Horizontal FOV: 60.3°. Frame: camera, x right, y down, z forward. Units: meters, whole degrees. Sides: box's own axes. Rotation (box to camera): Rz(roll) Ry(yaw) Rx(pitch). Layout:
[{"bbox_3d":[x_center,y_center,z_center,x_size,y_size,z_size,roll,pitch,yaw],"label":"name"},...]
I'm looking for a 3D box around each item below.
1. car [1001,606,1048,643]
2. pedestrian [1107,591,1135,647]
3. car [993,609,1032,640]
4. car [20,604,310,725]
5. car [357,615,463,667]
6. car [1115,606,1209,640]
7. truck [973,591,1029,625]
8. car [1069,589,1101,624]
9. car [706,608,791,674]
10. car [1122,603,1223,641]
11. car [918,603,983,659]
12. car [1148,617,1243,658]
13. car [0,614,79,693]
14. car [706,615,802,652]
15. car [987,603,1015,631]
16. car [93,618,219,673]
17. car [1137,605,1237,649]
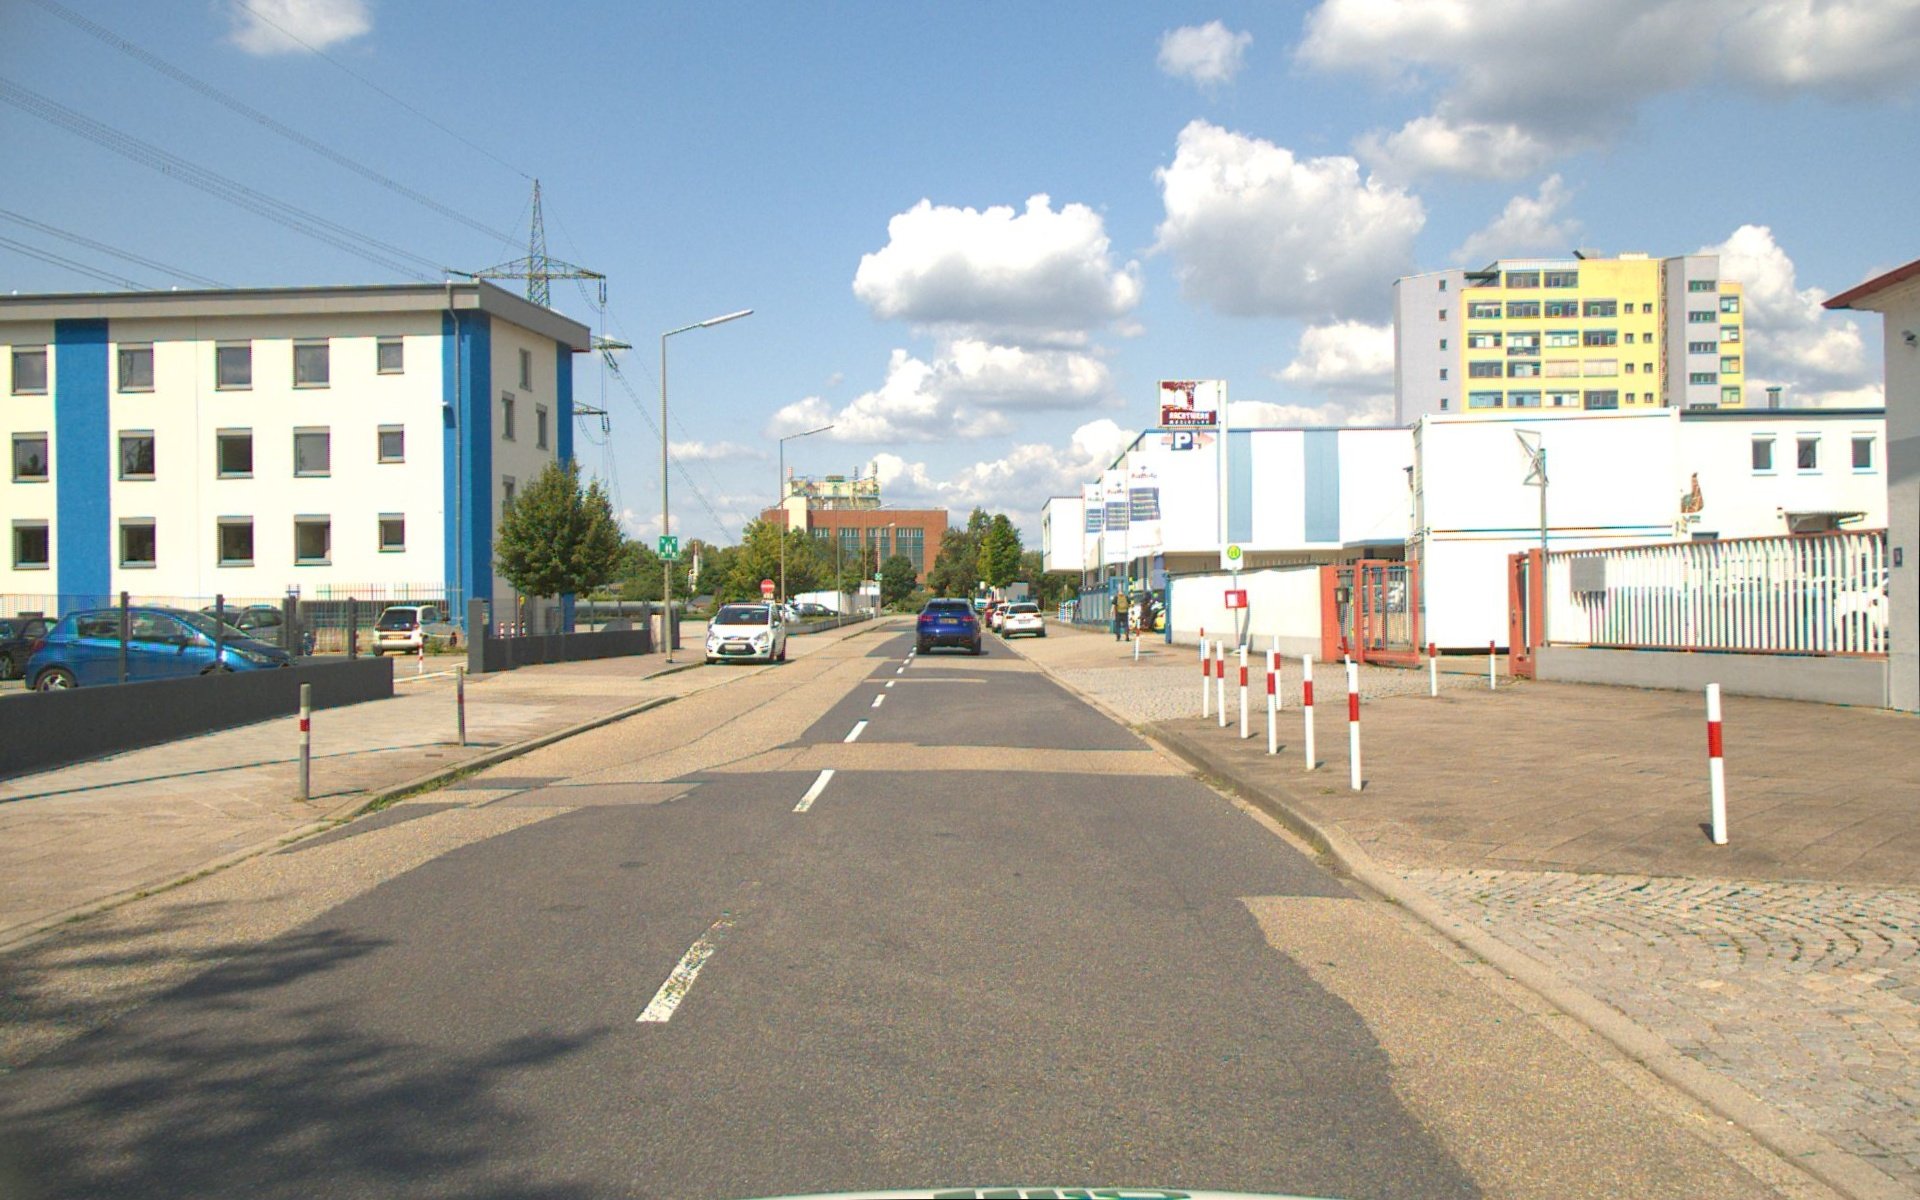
[{"bbox_3d":[2.802,1.063,72.528,1.829,1.547,4.597,0,0,-1],"label":"car"},{"bbox_3d":[5.275,0.634,54.341,0.754,1.787,0.787,-3,0,-1],"label":"pedestrian"},{"bbox_3d":[2.700,1.225,85.325,1.798,1.547,4.460,0,0,-1],"label":"car"},{"bbox_3d":[-12.304,0.970,25.771,3.573,1.738,1.878,-1,0,-1],"label":"car"},{"bbox_3d":[-17.549,1.288,52.937,1.833,1.533,3.761,-1,0,6],"label":"car"},{"bbox_3d":[9.598,1.091,78.821,4.192,1.445,2.000,-1,0,0],"label":"car"},{"bbox_3d":[4.756,0.889,190.440,2.278,3.629,9.350,1,1,30],"label":"truck"},{"bbox_3d":[9.208,0.457,122.069,1.884,2.507,5.259,0,0,0],"label":"car"},{"bbox_3d":[-5.820,1.091,45.968,1.829,1.738,4.752,0,0,-1],"label":"car"},{"bbox_3d":[8.828,0.910,68.893,3.905,1.445,2.000,-1,0,0],"label":"car"},{"bbox_3d":[-0.312,0.922,50.630,1.871,1.621,4.700,0,0,-1],"label":"car"},{"bbox_3d":[8.964,1.418,63.146,3.334,1.516,1.791,0,0,-1],"label":"car"},{"bbox_3d":[-22.296,1.222,38.171,1.833,1.738,3.482,-1,0,5],"label":"car"},{"bbox_3d":[-10.447,1.676,84.075,4.661,1.630,1.998,-2,0,-4],"label":"car"},{"bbox_3d":[2.601,1.063,104.115,1.718,1.679,4.678,0,0,1],"label":"car"},{"bbox_3d":[-26.820,1.488,55.340,1.786,1.684,4.447,-1,0,4],"label":"car"},{"bbox_3d":[9.030,1.069,66.040,3.729,1.709,1.791,0,0,-1],"label":"car"}]
